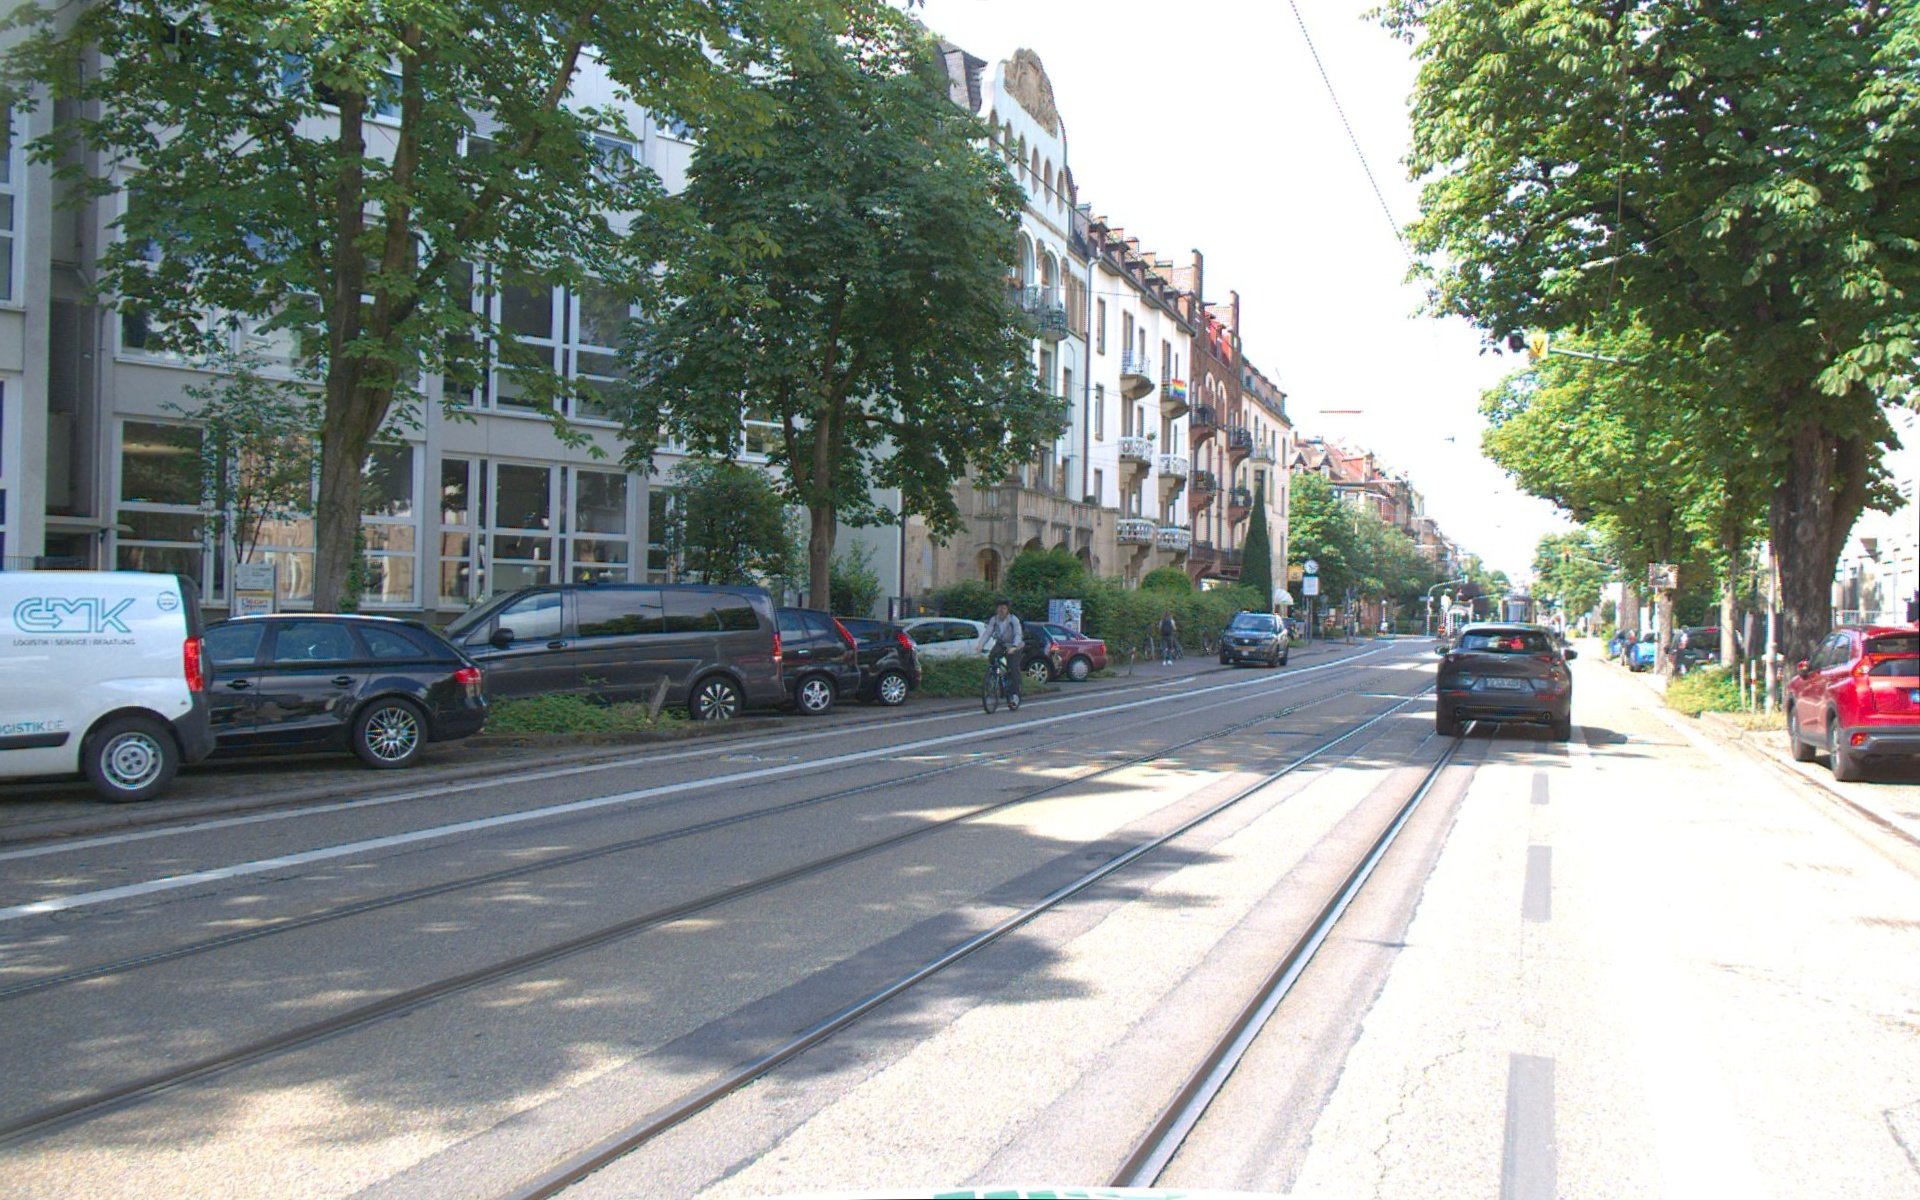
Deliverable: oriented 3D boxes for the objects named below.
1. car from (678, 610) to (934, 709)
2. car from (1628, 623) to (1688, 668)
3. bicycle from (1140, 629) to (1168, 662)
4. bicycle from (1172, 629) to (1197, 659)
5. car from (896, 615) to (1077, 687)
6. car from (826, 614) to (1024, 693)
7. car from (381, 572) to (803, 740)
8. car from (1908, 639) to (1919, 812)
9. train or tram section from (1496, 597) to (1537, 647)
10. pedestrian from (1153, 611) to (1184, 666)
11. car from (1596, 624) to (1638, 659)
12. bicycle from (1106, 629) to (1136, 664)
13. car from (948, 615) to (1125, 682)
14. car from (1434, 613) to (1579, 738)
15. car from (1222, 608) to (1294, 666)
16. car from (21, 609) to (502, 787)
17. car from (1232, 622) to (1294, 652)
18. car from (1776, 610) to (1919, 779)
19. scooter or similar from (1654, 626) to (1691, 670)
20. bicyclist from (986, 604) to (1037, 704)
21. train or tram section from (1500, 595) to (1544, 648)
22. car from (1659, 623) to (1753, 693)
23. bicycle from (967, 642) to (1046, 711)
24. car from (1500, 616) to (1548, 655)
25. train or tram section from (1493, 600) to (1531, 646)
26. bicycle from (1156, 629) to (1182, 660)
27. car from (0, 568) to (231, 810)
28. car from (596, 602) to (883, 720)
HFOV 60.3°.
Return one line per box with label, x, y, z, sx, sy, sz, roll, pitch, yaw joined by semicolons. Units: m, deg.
car;-2.581;0.973;27.674;3.933;1.510;1.729;-1;-1;-23
car;24.658;1.581;58.493;1.605;1.522;3.628;-1;-1;18
bicycle;6.135;1.427;52.245;0.375;0.976;1.810;2;0;21
bicycle;7.637;1.487;56.200;0.375;0.976;1.921;2;0;21
car;0.585;1.134;37.239;3.739;1.510;1.688;-1;-1;-20
car;-0.720;1.084;34.190;3.748;1.510;1.683;-1;-1;-26
car;-4.778;0.667;21.629;5.089;1.988;1.900;-1;-1;-27
car;8.267;0.990;12.073;1.566;1.454;3.597;-2;-2;18
train or tram section;42.051;1.703;125.101;2.596;3.590;8.501;0;-1;16
pedestrian;6.268;1.145;49.780;0.666;1.595;0.882;3;0;22
car;29.982;1.879;75.542;1.590;1.522;3.848;-1;-1;19
bicycle;4.722;1.362;48.540;0.375;0.976;1.810;2;0;21
car;1.852;1.171;40.175;3.905;1.510;1.833;-1;-1;-24
car;7.838;0.996;23.746;1.752;1.538;4.352;2;0;18
car;9.849;1.173;54.339;1.747;1.793;4.885;1;0;17
car;-6.465;0.847;15.503;3.939;1.442;1.745;-1;-1;-27
car;17.413;2.131;95.131;3.171;1.539;1.678;3;0;23
car;10.634;0.981;18.704;1.836;1.706;4.284;-1;-1;17
scooter or similar;22.367;1.498;51.954;0.433;1.322;1.179;-2;0;-11
bicyclist;0.845;0.870;26.851;0.628;1.604;0.742;0;-1;20
train or tram section;39.642;1.523;116.898;2.596;3.590;8.501;0;-1;16
car;18.361;1.408;40.859;1.661;1.619;4.204;-1;-1;18
bicycle;0.770;1.220;26.704;0.642;1.059;2.000;0;-1;21
car;23.569;1.456;69.224;1.747;1.518;4.885;1;0;17
train or tram section;44.462;1.885;133.273;2.596;3.590;8.501;0;-1;16
bicycle;6.851;1.440;54.211;0.375;0.976;1.810;2;0;21
car;-7.506;0.663;12.457;3.654;1.722;1.747;-1;-1;-24
car;-3.304;0.878;24.767;3.936;1.621;1.727;-1;-1;-25
